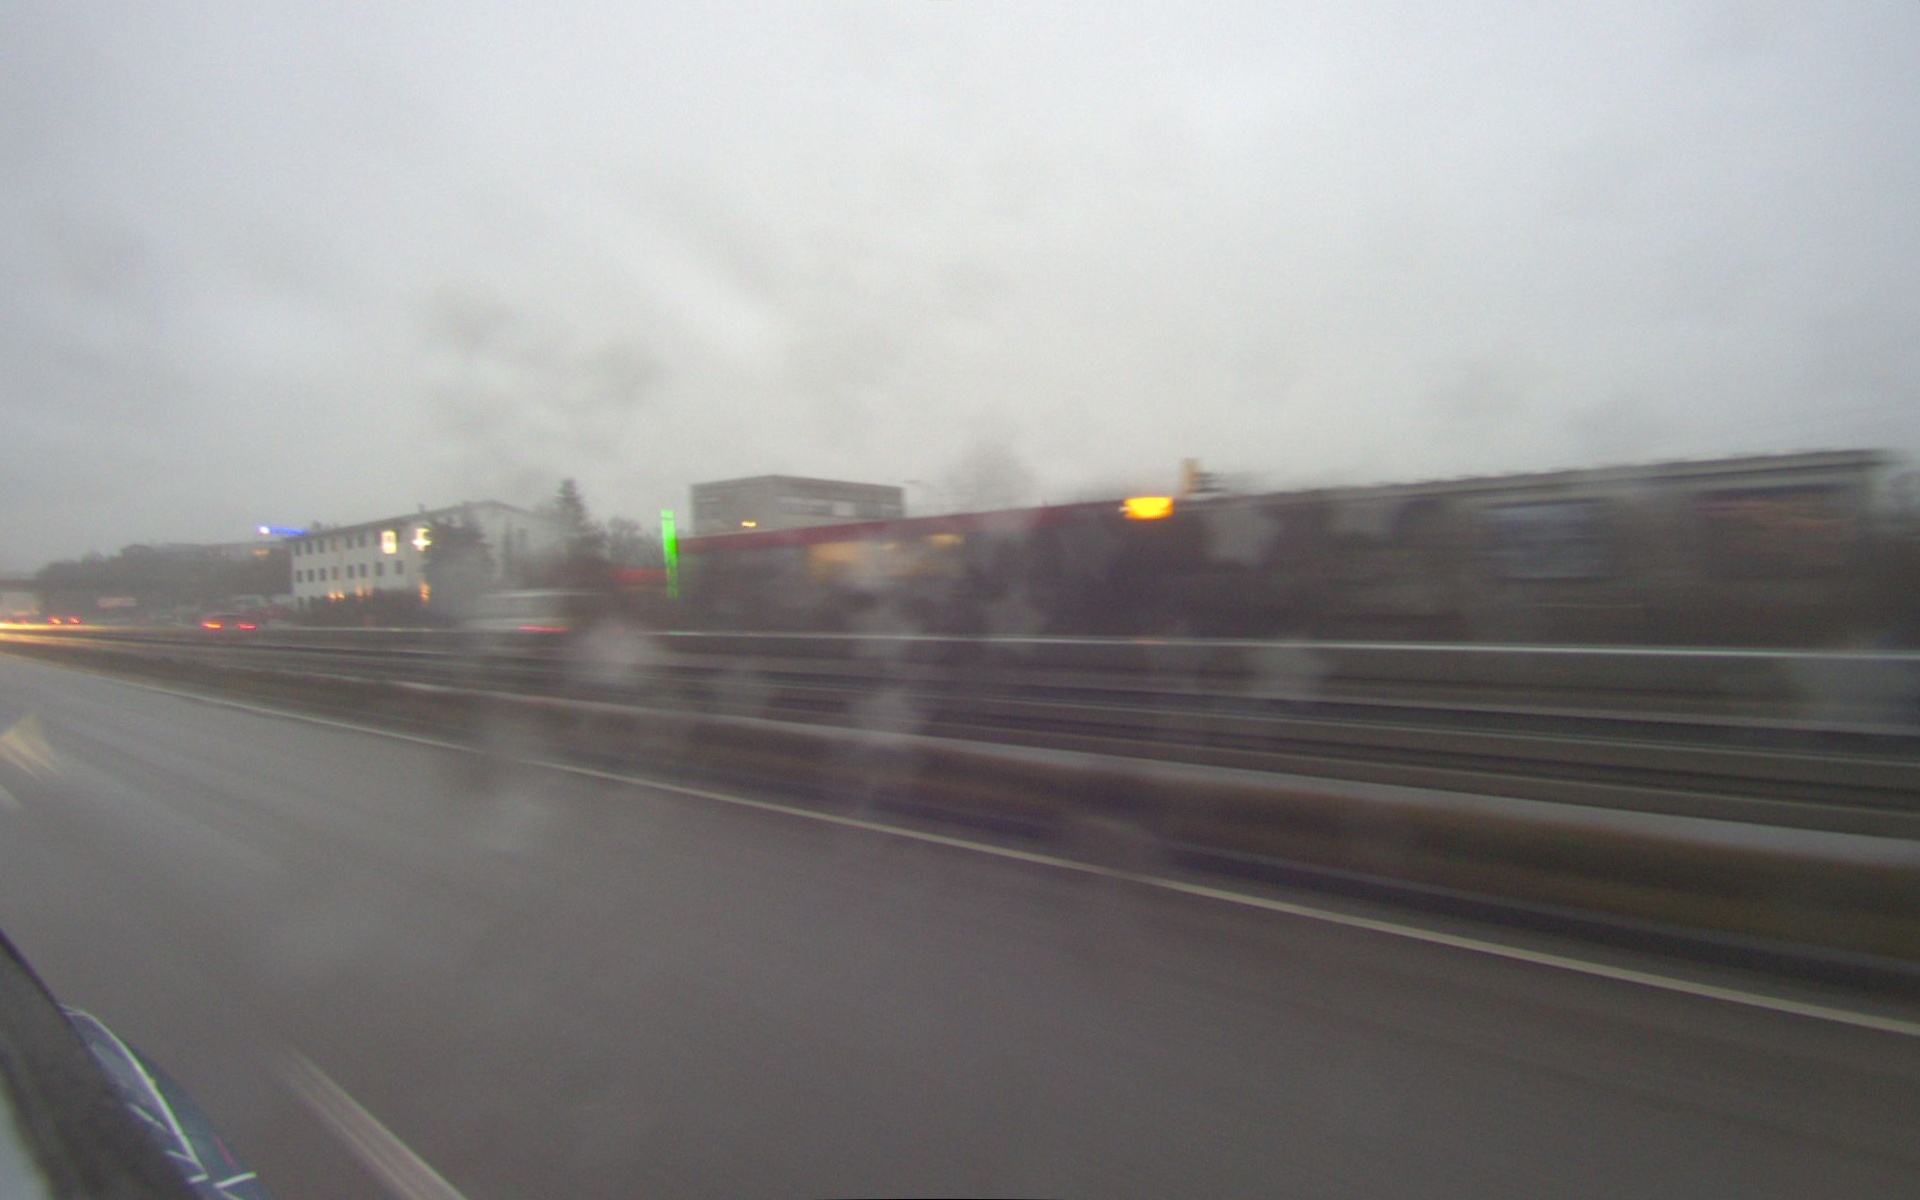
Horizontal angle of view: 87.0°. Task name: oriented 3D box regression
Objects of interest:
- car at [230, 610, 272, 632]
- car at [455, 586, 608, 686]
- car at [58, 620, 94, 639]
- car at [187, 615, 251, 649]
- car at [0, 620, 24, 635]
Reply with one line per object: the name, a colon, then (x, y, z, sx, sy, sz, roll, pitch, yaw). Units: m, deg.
car: (-69.482, 2.047, 99.137, 4.957, 2.029, 2.133, -1, 1, 40)
car: (-11.635, 0.860, 27.325, 4.887, 2.313, 1.907, 3, 3, 42)
car: (-72.692, 2.401, 83.205, 3.999, 1.519, 1.718, -1, 1, 42)
car: (-36.315, 1.536, 49.575, 3.999, 1.519, 1.718, -1, 1, 42)
car: (-103.770, 2.969, 110.602, 3.999, 1.519, 1.718, -1, 1, 42)
